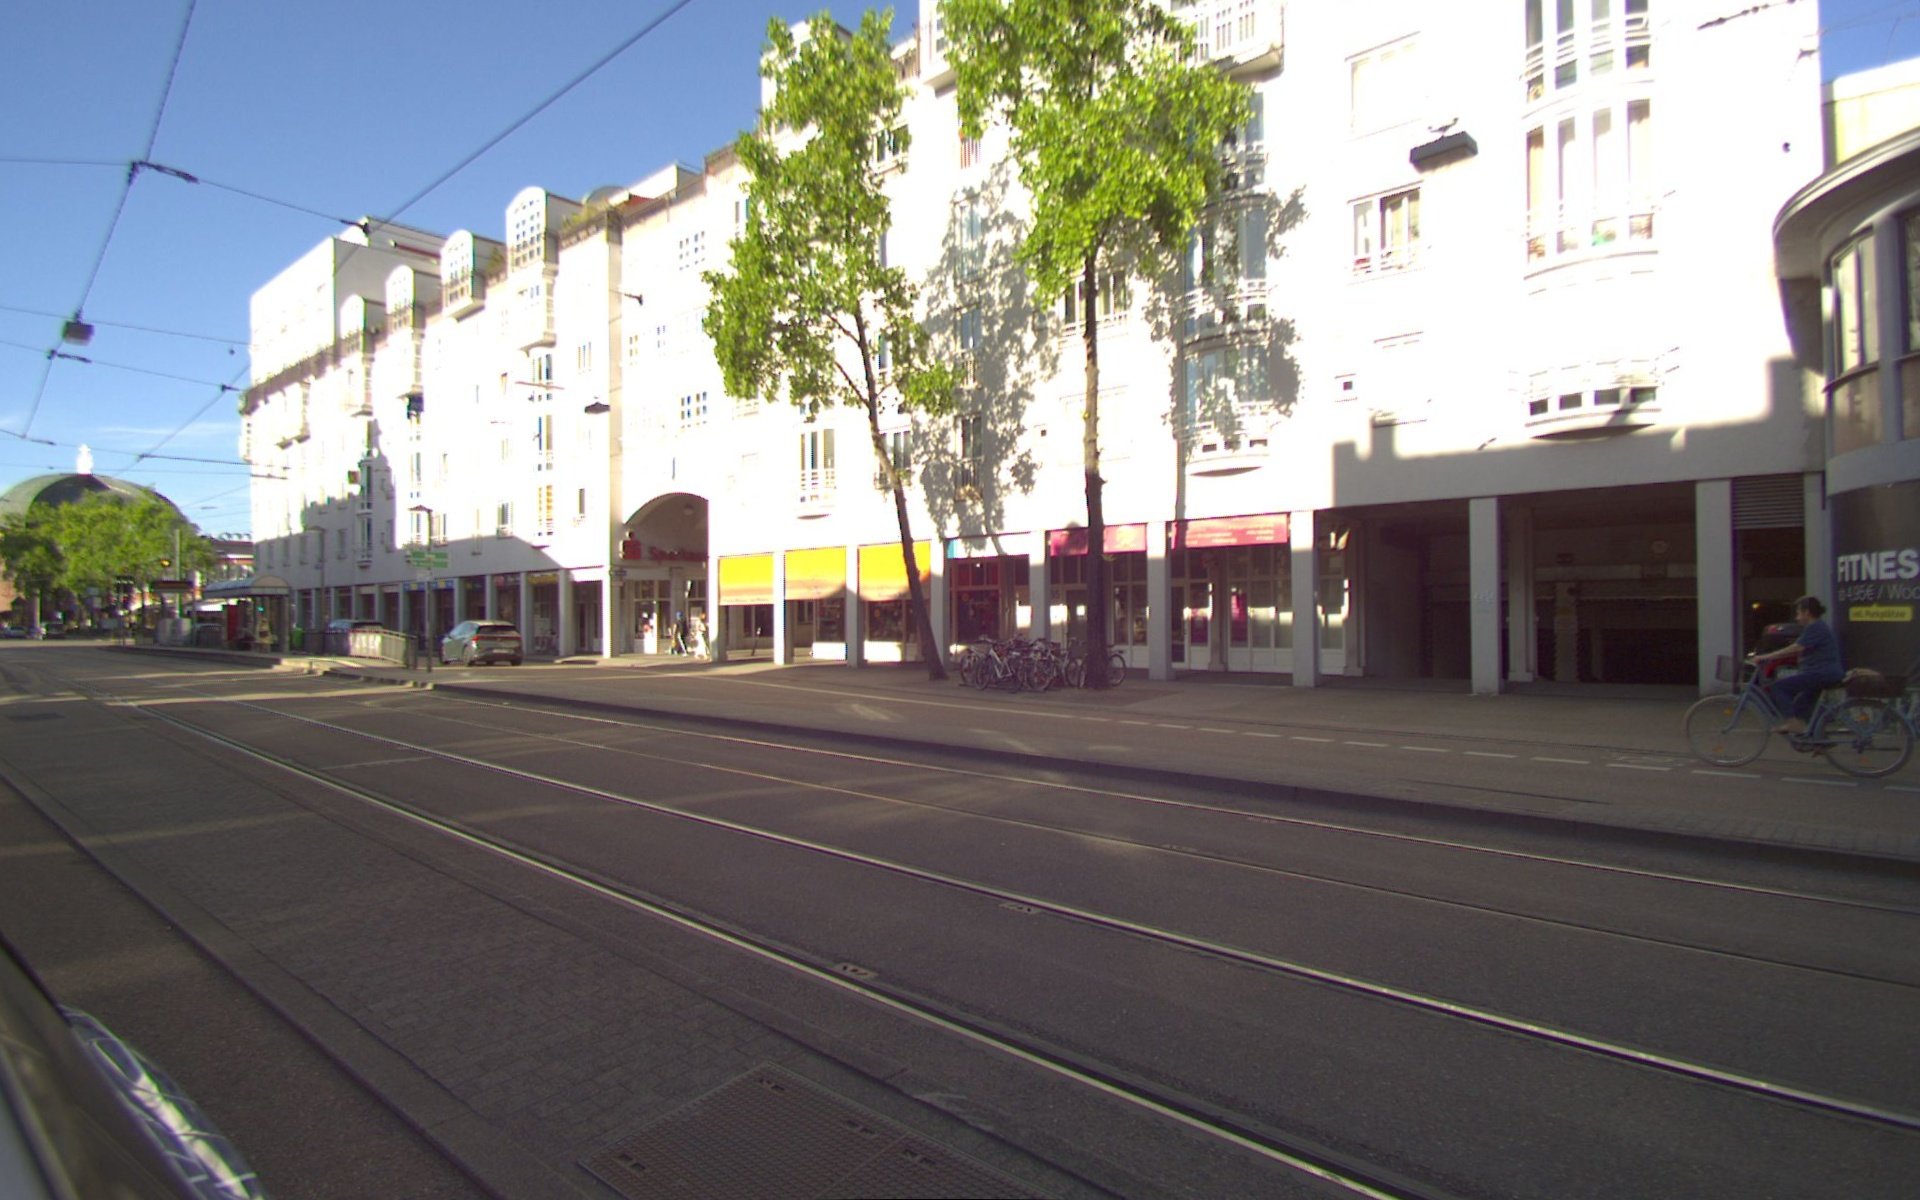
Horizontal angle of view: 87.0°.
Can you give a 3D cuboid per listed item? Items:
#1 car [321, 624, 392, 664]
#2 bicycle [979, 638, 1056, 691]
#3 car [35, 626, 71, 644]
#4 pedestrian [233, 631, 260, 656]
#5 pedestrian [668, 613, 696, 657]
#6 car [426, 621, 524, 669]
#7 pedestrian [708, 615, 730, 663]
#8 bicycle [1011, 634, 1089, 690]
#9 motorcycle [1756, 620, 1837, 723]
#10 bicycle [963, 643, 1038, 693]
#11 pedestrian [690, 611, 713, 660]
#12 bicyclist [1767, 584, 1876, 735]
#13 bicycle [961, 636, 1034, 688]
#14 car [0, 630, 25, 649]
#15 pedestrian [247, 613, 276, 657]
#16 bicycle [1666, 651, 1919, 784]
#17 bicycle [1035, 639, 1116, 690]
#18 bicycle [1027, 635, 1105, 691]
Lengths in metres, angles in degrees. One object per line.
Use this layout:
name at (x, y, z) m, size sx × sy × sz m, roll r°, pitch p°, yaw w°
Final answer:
car at (-26.805, 1.918, 44.895) m, size 1.758 × 1.681 × 4.776 m, roll 2°, pitch -3°, yaw -42°
bicycle at (1.271, 1.380, 22.057) m, size 1.850 × 1.085 × 0.465 m, roll 0°, pitch -2°, yaw -41°
car at (-82.683, 3.187, 92.244) m, size 3.999 × 1.630 × 1.972 m, roll -2°, pitch -1°, yaw 42°
pedestrian at (-29.607, 1.808, 41.987) m, size 0.747 × 0.995 × 0.784 m, roll -1°, pitch -1°, yaw 41°
pedestrian at (-10.474, 1.307, 38.108) m, size 0.731 × 1.657 × 0.737 m, roll -2°, pitch -2°, yaw 41°
car at (-16.677, 1.534, 34.706) m, size 1.758 × 1.552 × 4.272 m, roll 4°, pitch -4°, yaw -43°
pedestrian at (-8.414, 1.354, 35.336) m, size 0.523 × 1.657 × 0.556 m, roll -2°, pitch -3°, yaw 41°
bicycle at (1.904, 1.282, 21.248) m, size 1.850 × 1.085 × 0.465 m, roll 0°, pitch -2°, yaw -41°
motorcycle at (11.435, 0.933, 13.886) m, size 0.673 × 1.272 × 1.965 m, roll -2°, pitch -1°, yaw 35°
bicycle at (0.816, 1.376, 20.655) m, size 0.464 × 0.939 × 1.757 m, roll -1°, pitch -1°, yaw -39°
pedestrian at (-8.896, 1.223, 34.804) m, size 0.523 × 1.657 × 0.556 m, roll -2°, pitch -2°, yaw 41°
bicyclist at (8.204, 0.547, 9.643) m, size 0.556 × 1.372 × 0.719 m, roll 1°, pitch -2°, yaw -43°
bicycle at (0.857, 1.378, 22.764) m, size 1.851 × 1.085 × 0.512 m, roll 1°, pitch -2°, yaw -44°
car at (-98.435, 4.070, 104.676) m, size 3.995 × 1.918 × 1.974 m, roll -2°, pitch -1°, yaw 39°
pedestrian at (-26.807, 1.332, 38.841) m, size 0.747 × 1.657 × 0.784 m, roll -2°, pitch -1°, yaw 41°
bicycle at (8.088, 1.084, 9.760) m, size 0.557 × 1.132 × 2.006 m, roll 0°, pitch -1°, yaw -43°
bicycle at (2.312, 1.264, 20.202) m, size 1.726 × 0.939 × 0.571 m, roll 0°, pitch -1°, yaw -40°
bicycle at (2.202, 1.271, 20.860) m, size 1.850 × 1.085 × 0.465 m, roll 0°, pitch -2°, yaw -41°
